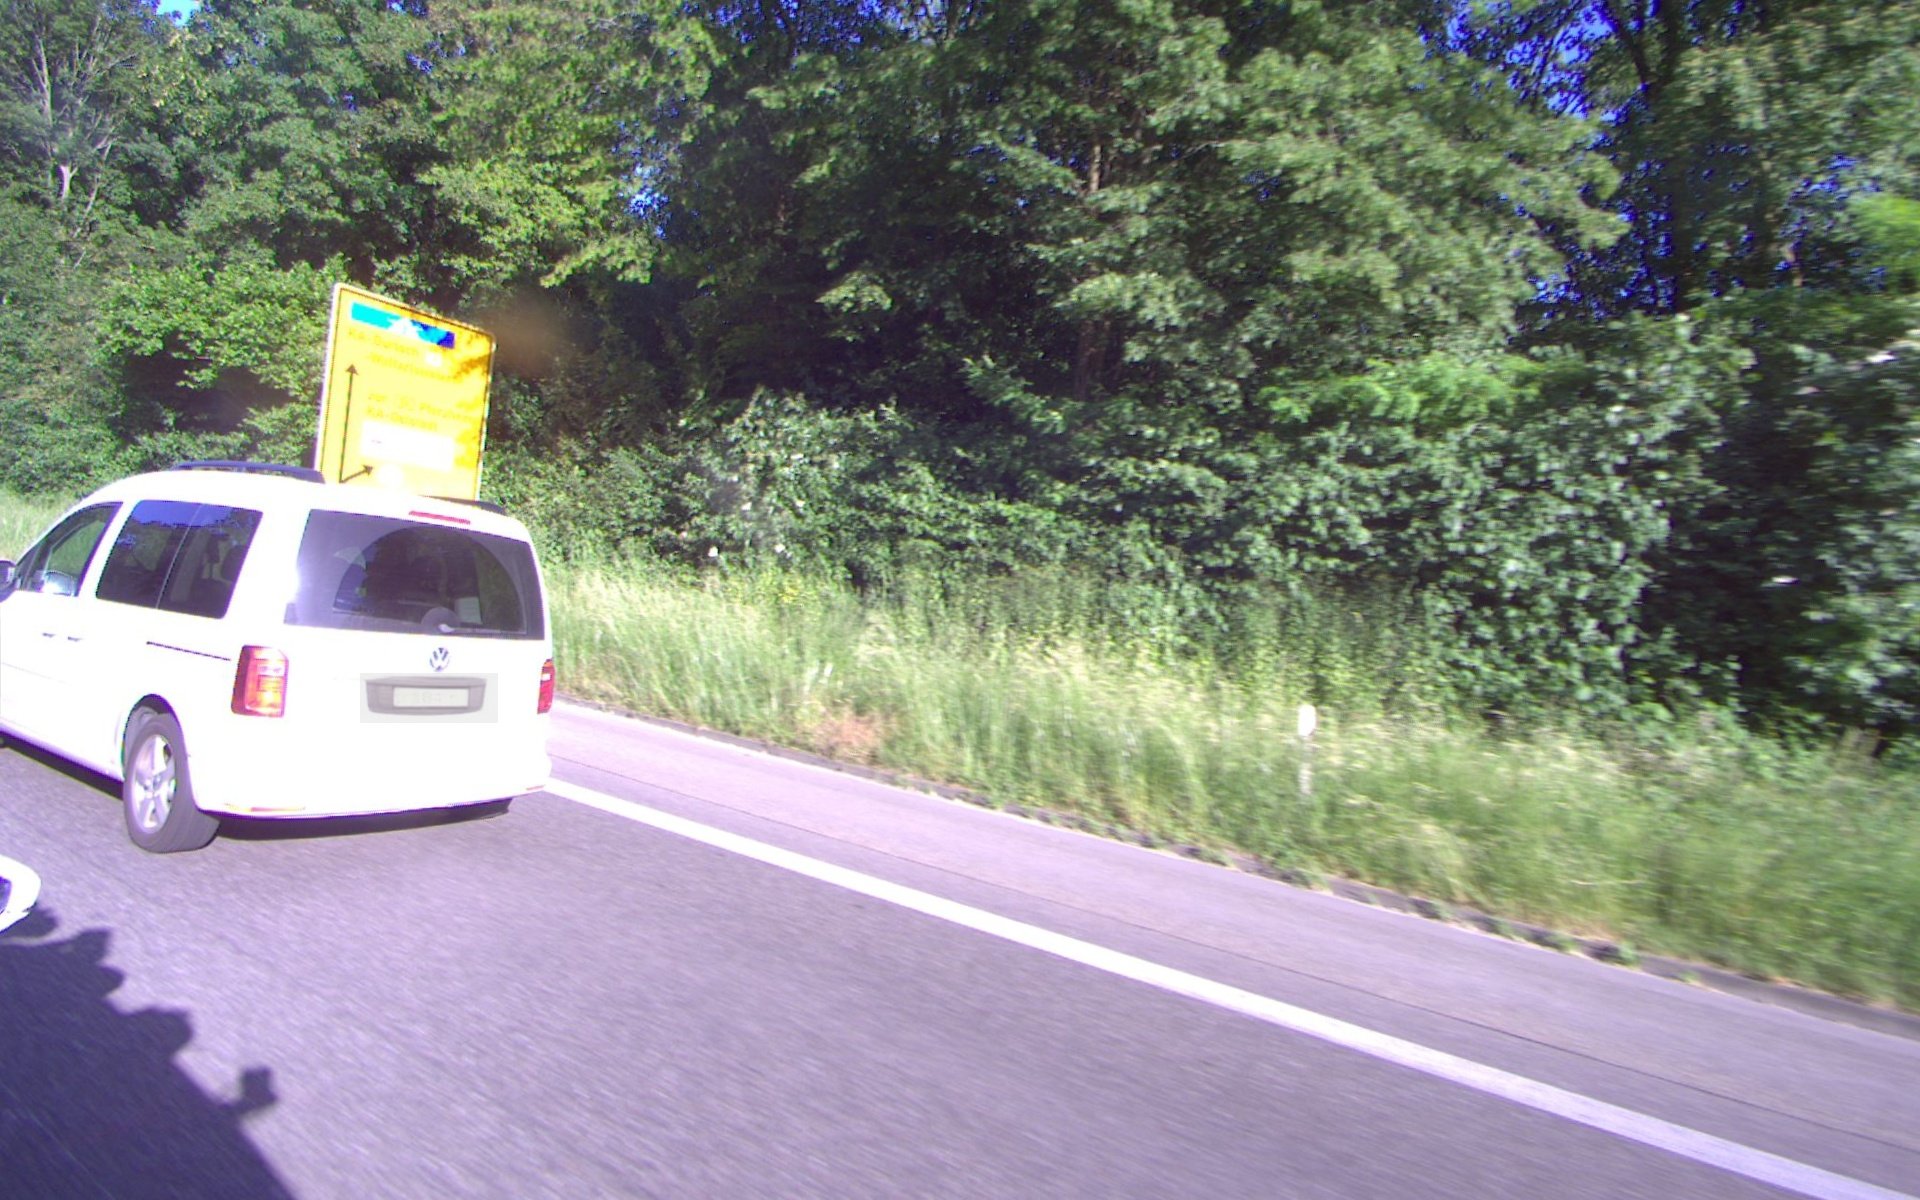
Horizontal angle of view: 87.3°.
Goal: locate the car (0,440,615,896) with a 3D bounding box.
[{"bbox_3d":[-4.416,0.170,6.037,4.511,1.834,1.802,6,-2,31],"label":"car"}]
